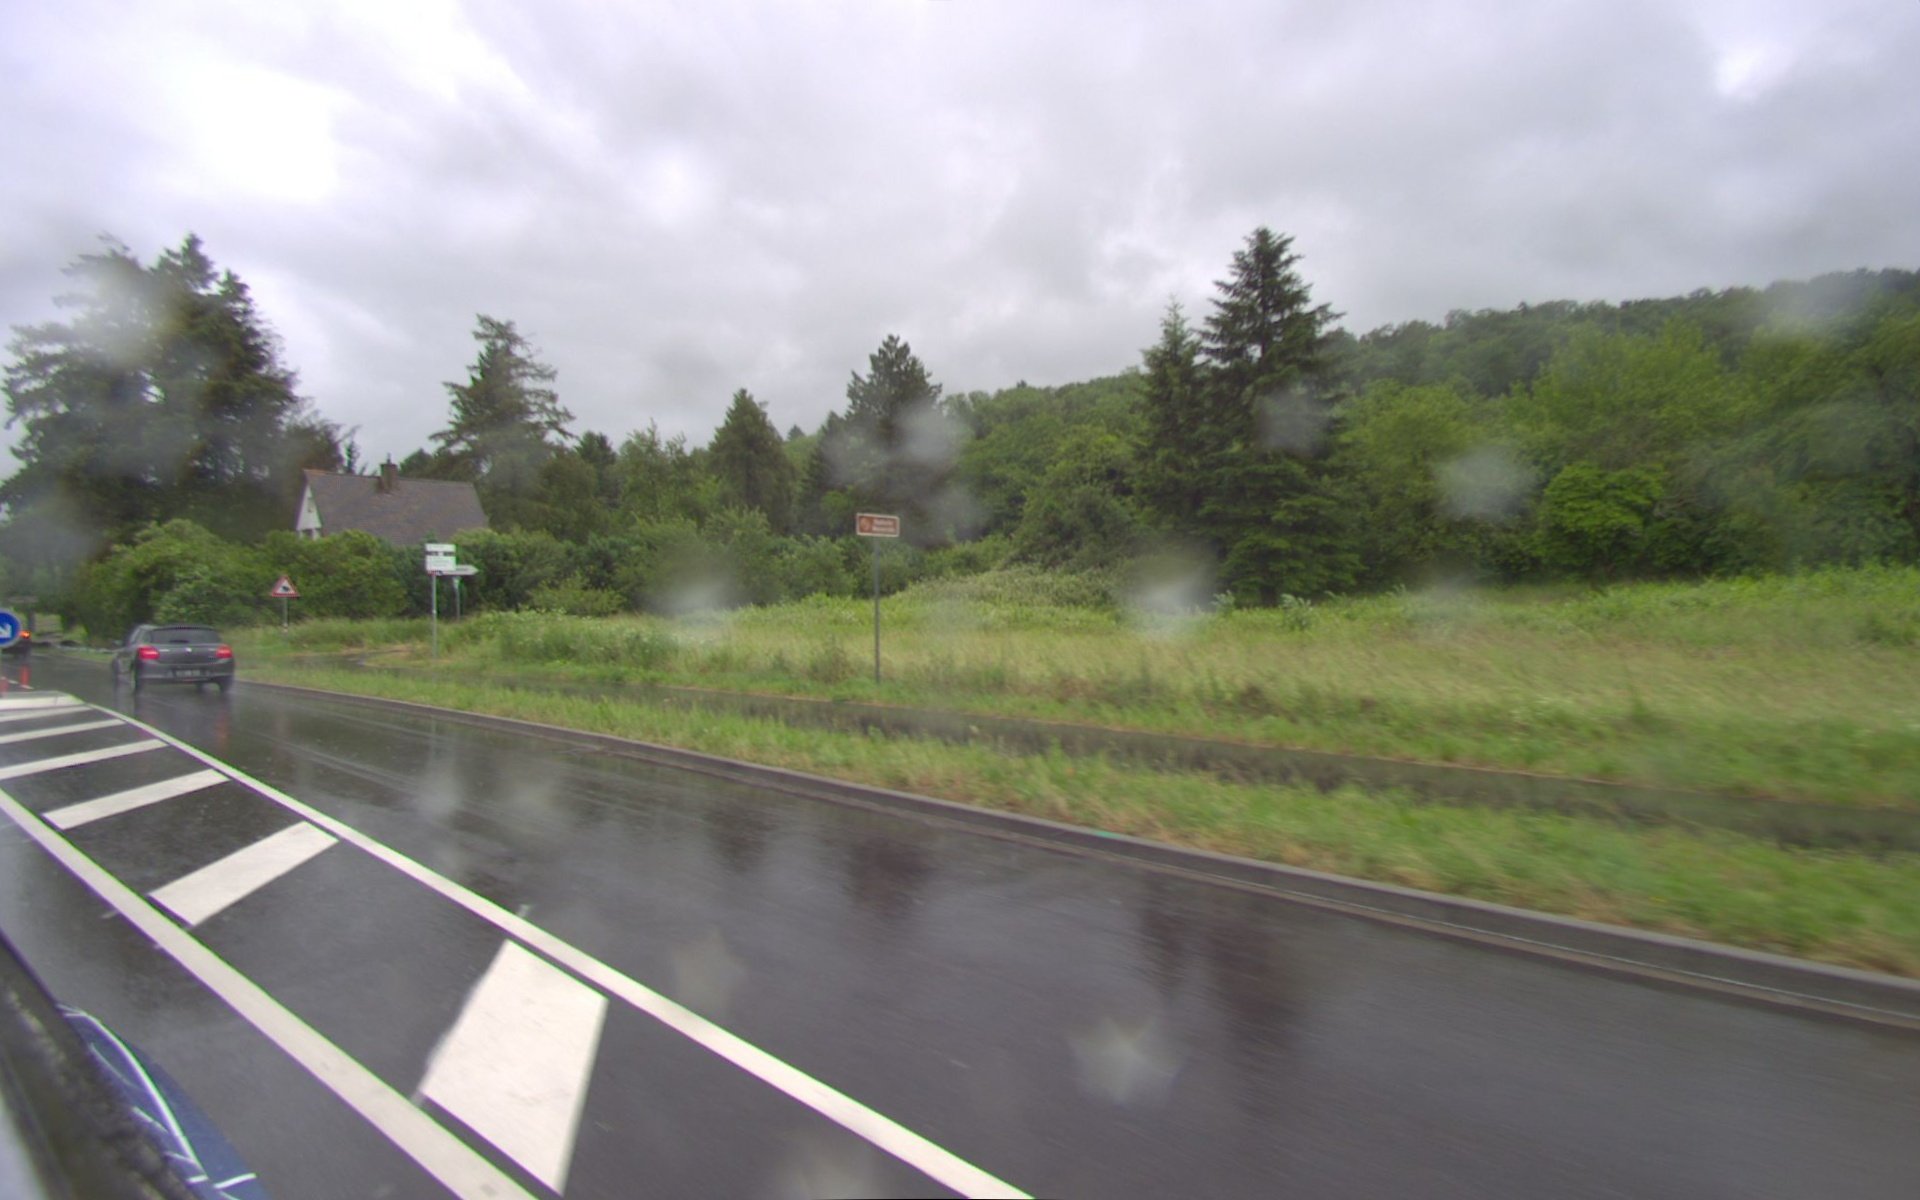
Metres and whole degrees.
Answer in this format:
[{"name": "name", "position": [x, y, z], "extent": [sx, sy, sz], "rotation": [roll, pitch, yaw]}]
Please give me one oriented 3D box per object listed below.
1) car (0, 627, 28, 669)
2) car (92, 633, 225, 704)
[{"name": "car", "position": [-40.660, 2.000, 42.503], "extent": [4.264, 1.731, 1.723], "rotation": [-2, -3, 41]}, {"name": "car", "position": [-17.624, 1.437, 22.194], "extent": [3.766, 1.412, 1.678], "rotation": [-2, -3, 43]}]
